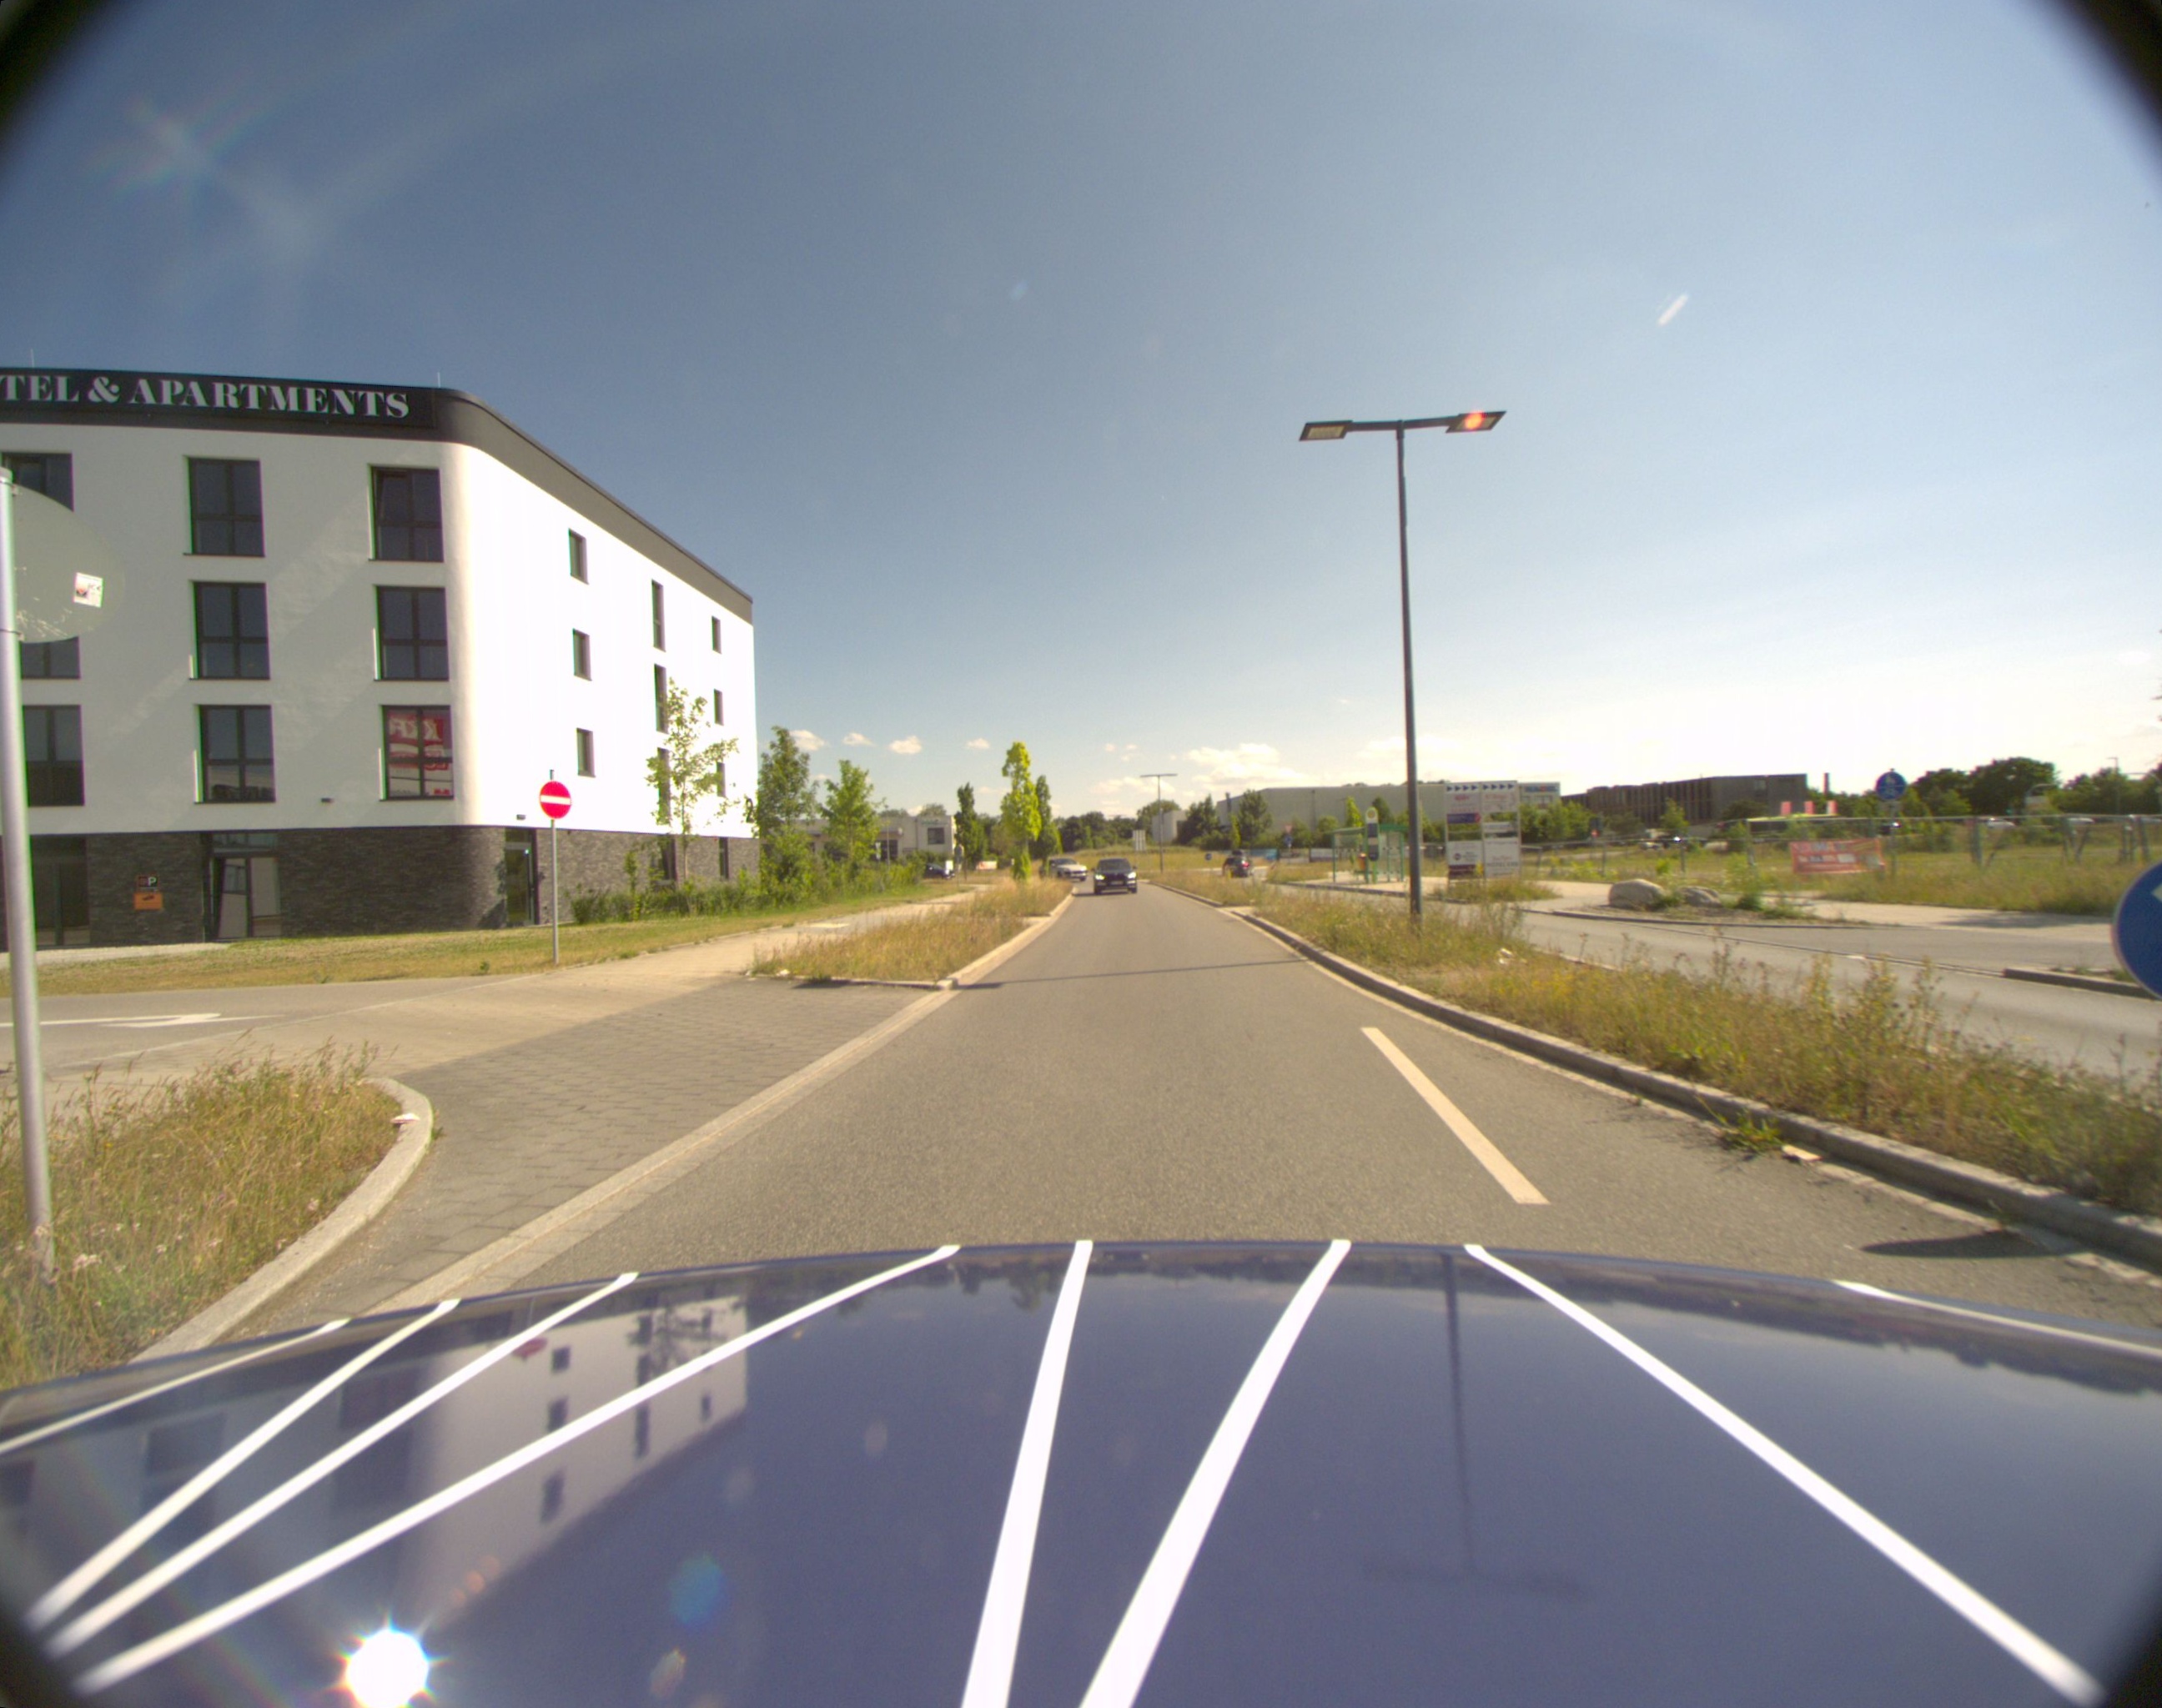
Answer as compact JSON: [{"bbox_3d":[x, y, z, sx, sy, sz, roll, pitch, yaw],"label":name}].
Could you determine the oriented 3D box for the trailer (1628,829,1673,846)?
[{"bbox_3d":[64.659,-1.837,86.335,4.000,1.849,1.826,-1,1,-8],"label":"trailer"}]

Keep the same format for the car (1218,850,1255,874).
[{"bbox_3d":[10.787,0.552,52.532,1.996,1.508,4.202,-1,1,18],"label":"car"}]

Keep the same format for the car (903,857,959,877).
[{"bbox_3d":[-12.906,1.128,65.355,4.387,1.565,1.845,-2,2,26],"label":"car"}]

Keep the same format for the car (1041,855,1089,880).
[{"bbox_3d":[-1.175,0.948,54.011,1.844,1.565,4.389,-3,2,-23],"label":"car"}]

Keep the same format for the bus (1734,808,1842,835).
[{"bbox_3d":[82.314,-3.764,88.470,11.568,2.720,2.578,-2,1,-9],"label":"bus"}]

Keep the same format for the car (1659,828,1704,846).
[{"bbox_3d":[68.597,-1.935,86.841,4.000,1.849,1.826,-1,1,-8],"label":"car"}]

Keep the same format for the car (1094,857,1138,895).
[{"bbox_3d":[1.597,0.953,34.956,1.841,1.565,4.000,-3,0,2],"label":"car"}]
